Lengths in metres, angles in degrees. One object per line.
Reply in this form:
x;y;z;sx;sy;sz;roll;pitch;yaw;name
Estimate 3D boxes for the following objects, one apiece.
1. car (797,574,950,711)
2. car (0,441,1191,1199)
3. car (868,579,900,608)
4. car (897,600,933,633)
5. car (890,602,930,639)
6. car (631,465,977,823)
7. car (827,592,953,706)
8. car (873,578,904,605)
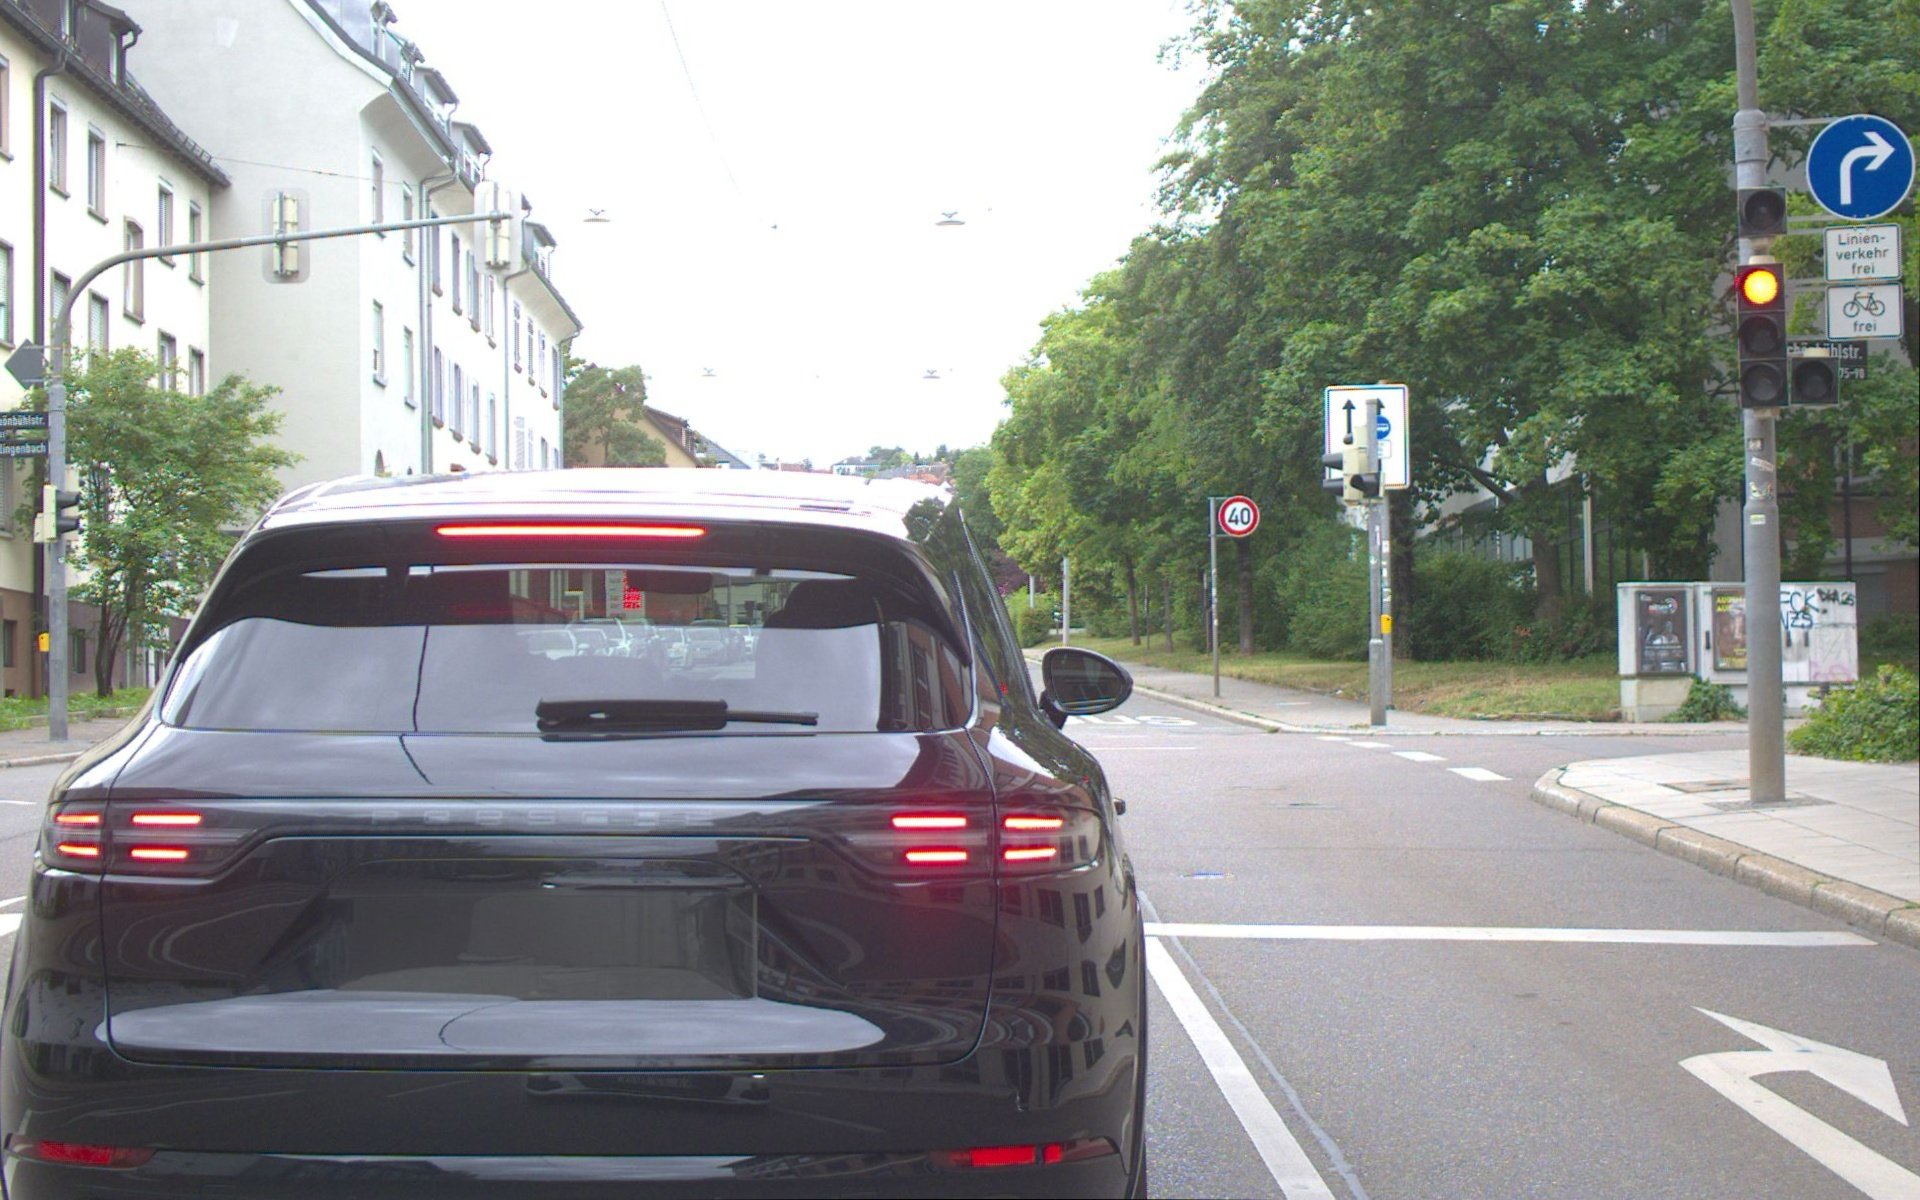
-1.062;0.497;43.822;1.827;1.599;4.135;1;1;0;car
-0.707;0.568;7.250;2.048;1.660;4.267;1;1;0;car
-4.473;-0.379;202.946;1.827;1.599;4.135;1;1;0;car
-2.377;0.861;182.486;1.827;1.599;4.135;1;1;0;car
-2.369;0.969;163.310;1.827;1.599;4.135;1;1;0;car
-0.914;0.220;21.898;1.965;2.035;4.135;1;1;0;car
-1.037;0.720;52.541;1.827;1.599;3.859;1;1;0;car
-4.374;-0.531;210.271;1.827;1.599;4.135;1;1;0;car
